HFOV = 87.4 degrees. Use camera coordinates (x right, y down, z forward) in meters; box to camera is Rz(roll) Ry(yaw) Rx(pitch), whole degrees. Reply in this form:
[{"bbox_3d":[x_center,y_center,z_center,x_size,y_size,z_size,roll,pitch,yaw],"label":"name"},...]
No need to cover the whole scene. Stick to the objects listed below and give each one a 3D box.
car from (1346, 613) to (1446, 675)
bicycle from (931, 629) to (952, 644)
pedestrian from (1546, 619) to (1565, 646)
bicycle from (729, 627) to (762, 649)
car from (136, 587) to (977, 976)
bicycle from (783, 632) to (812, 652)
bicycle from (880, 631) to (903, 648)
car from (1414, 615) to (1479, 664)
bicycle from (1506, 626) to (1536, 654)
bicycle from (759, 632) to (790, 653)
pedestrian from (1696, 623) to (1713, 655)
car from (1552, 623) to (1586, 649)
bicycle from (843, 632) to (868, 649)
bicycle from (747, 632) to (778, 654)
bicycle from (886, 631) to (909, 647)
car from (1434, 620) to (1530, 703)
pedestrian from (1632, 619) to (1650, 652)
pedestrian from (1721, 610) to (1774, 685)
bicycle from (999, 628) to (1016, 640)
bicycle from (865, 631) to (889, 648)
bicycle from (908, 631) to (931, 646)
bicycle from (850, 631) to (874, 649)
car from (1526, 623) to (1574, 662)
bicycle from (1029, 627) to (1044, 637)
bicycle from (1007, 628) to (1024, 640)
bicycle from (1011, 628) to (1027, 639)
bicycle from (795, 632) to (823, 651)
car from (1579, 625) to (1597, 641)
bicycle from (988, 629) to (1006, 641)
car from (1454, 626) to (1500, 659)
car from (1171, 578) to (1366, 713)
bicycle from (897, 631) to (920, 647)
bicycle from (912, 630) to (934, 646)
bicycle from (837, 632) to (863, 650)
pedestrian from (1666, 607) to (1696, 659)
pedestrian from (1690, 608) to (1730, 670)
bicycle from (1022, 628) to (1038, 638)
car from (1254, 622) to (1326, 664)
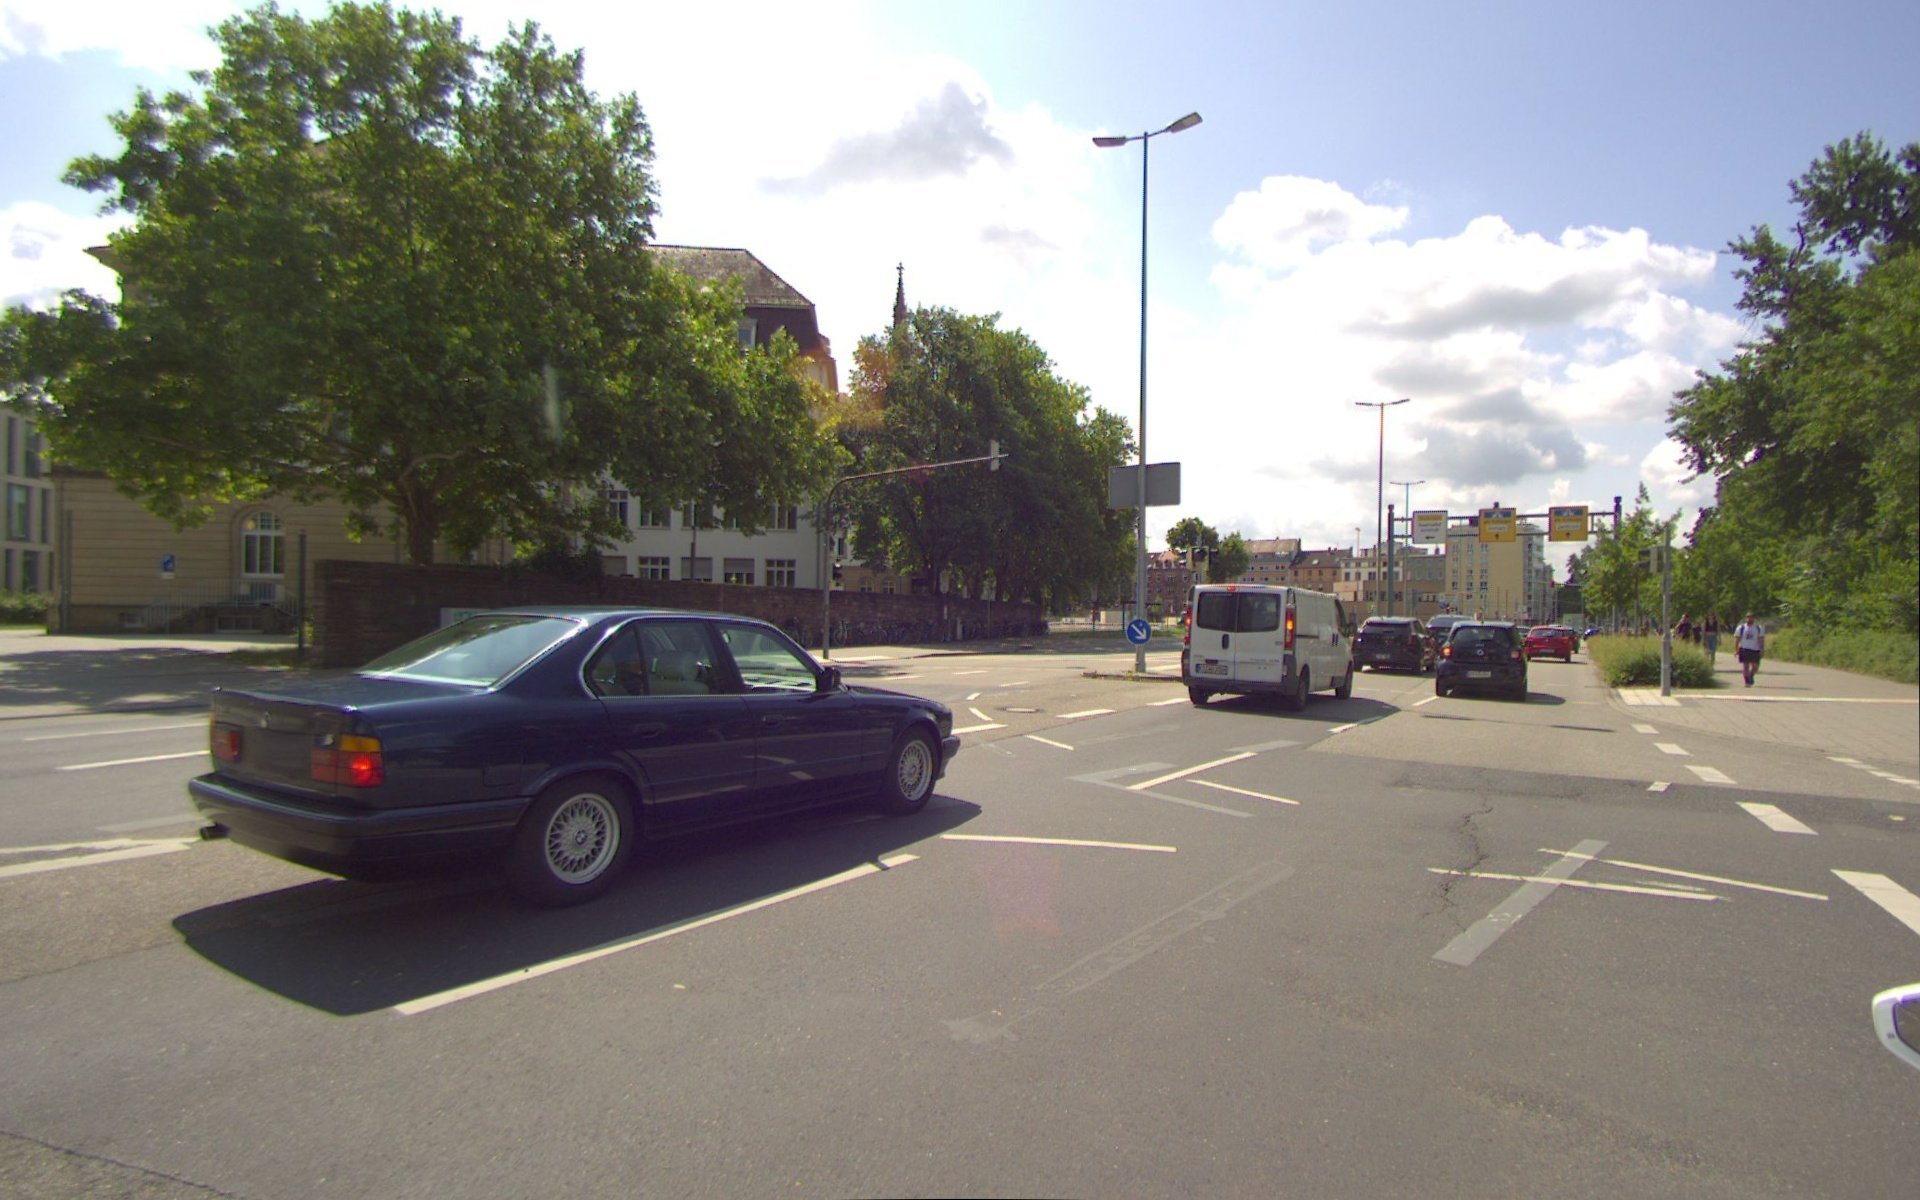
[{"bbox_3d":[12.585,1.234,28.835,1.988,1.550,4.877,2,-1,31],"label":"car"},{"bbox_3d":[-0.934,1.868,50.967,0.989,0.691,0.408,3,0,-11],"label":"bicycle"},{"bbox_3d":[45.124,2.435,76.118,1.157,1.995,1.013,1,-1,29],"label":"pedestrian"},{"bbox_3d":[-7.320,1.283,34.298,0.987,0.691,0.409,3,0,3],"label":"bicycle"},{"bbox_3d":[-1.836,0.718,6.101,1.668,1.405,4.602,2,0,33],"label":"car"},{"bbox_3d":[-6.078,1.575,37.557,0.987,0.691,0.409,3,0,3],"label":"bicycle"},{"bbox_3d":[-3.073,1.761,45.097,0.989,0.691,0.408,3,0,-11],"label":"bicycle"},{"bbox_3d":[17.884,1.404,36.818,1.800,1.622,4.385,2,0,30],"label":"car"},{"bbox_3d":[44.824,3.166,80.307,1.963,2.040,3.994,2,0,28],"label":"bicycle"},{"bbox_3d":[-6.710,1.538,36.316,0.987,0.691,0.409,3,0,3],"label":"bicycle"},{"bbox_3d":[44.663,2.331,60.258,0.493,1.915,0.561,2,0,6],"label":"pedestrian"},{"bbox_3d":[36.678,2.139,60.552,1.588,1.430,3.510,3,0,30],"label":"car"},{"bbox_3d":[-4.353,1.681,41.724,0.989,0.691,0.408,3,0,-11],"label":"bicycle"},{"bbox_3d":[-6.978,1.520,35.468,0.987,0.691,0.409,3,0,3],"label":"bicycle"},{"bbox_3d":[-2.845,1.775,45.678,0.989,0.691,0.408,3,0,-11],"label":"bicycle"},{"bbox_3d":[11.003,1.208,21.063,1.588,1.504,3.510,2,0,30],"label":"car"},{"bbox_3d":[41.921,2.198,61.839,0.826,1.995,0.859,1,-1,29],"label":"pedestrian"},{"bbox_3d":[18.592,1.111,23.746,0.839,1.723,0.929,-1,-2,31],"label":"pedestrian"},{"bbox_3d":[2.958,2.150,62.784,0.989,0.691,0.408,3,0,-11],"label":"bicycle"},{"bbox_3d":[-3.640,1.729,44.189,0.989,0.691,0.408,3,0,-11],"label":"bicycle"},{"bbox_3d":[-1.924,1.831,47.787,0.989,0.691,0.408,3,0,-11],"label":"bicycle"},{"bbox_3d":[-4.143,1.695,42.467,0.989,0.691,0.408,3,0,-11],"label":"bicycle"},{"bbox_3d":[23.922,1.690,40.768,1.588,1.430,3.510,2,0,30],"label":"car"},{"bbox_3d":[5.603,2.339,73.402,0.989,0.691,0.408,3,0,-11],"label":"bicycle"},{"bbox_3d":[3.589,2.192,64.745,0.989,0.691,0.408,3,0,-11],"label":"bicycle"},{"bbox_3d":[3.888,2.198,66.206,0.989,0.691,0.408,3,0,-11],"label":"bicycle"},{"bbox_3d":[-5.807,1.595,38.738,0.987,0.691,0.409,3,0,3],"label":"bicycle"},{"bbox_3d":[74.716,3.934,119.495,1.712,1.686,3.939,2,0,34],"label":"car"},{"bbox_3d":[2.181,2.095,59.739,0.989,0.691,0.408,3,0,-11],"label":"bicycle"},{"bbox_3d":[22.853,1.857,44.363,1.588,1.343,3.510,1,0,30],"label":"car"},{"bbox_3d":[5.627,0.733,17.787,1.978,1.981,5.182,2,0,32],"label":"car"},{"bbox_3d":[-2.392,1.792,46.576,0.989,0.691,0.408,3,0,-11],"label":"bicycle"},{"bbox_3d":[-1.813,1.833,48.574,0.989,0.691,0.408,3,0,-11],"label":"bicycle"},{"bbox_3d":[-4.485,1.670,41.044,0.989,0.691,0.408,3,0,-11],"label":"bicycle"},{"bbox_3d":[27.960,1.271,38.960,0.826,1.995,0.859,1,-1,29],"label":"pedestrian"},{"bbox_3d":[23.326,1.207,31.256,0.826,1.893,1.017,1,-1,29],"label":"pedestrian"},{"bbox_3d":[4.823,2.277,69.293,0.989,0.691,0.408,3,0,-11],"label":"bicycle"},{"bbox_3d":[12.798,1.646,38.858,1.724,1.491,3.796,1,-1,33],"label":"car"}]
